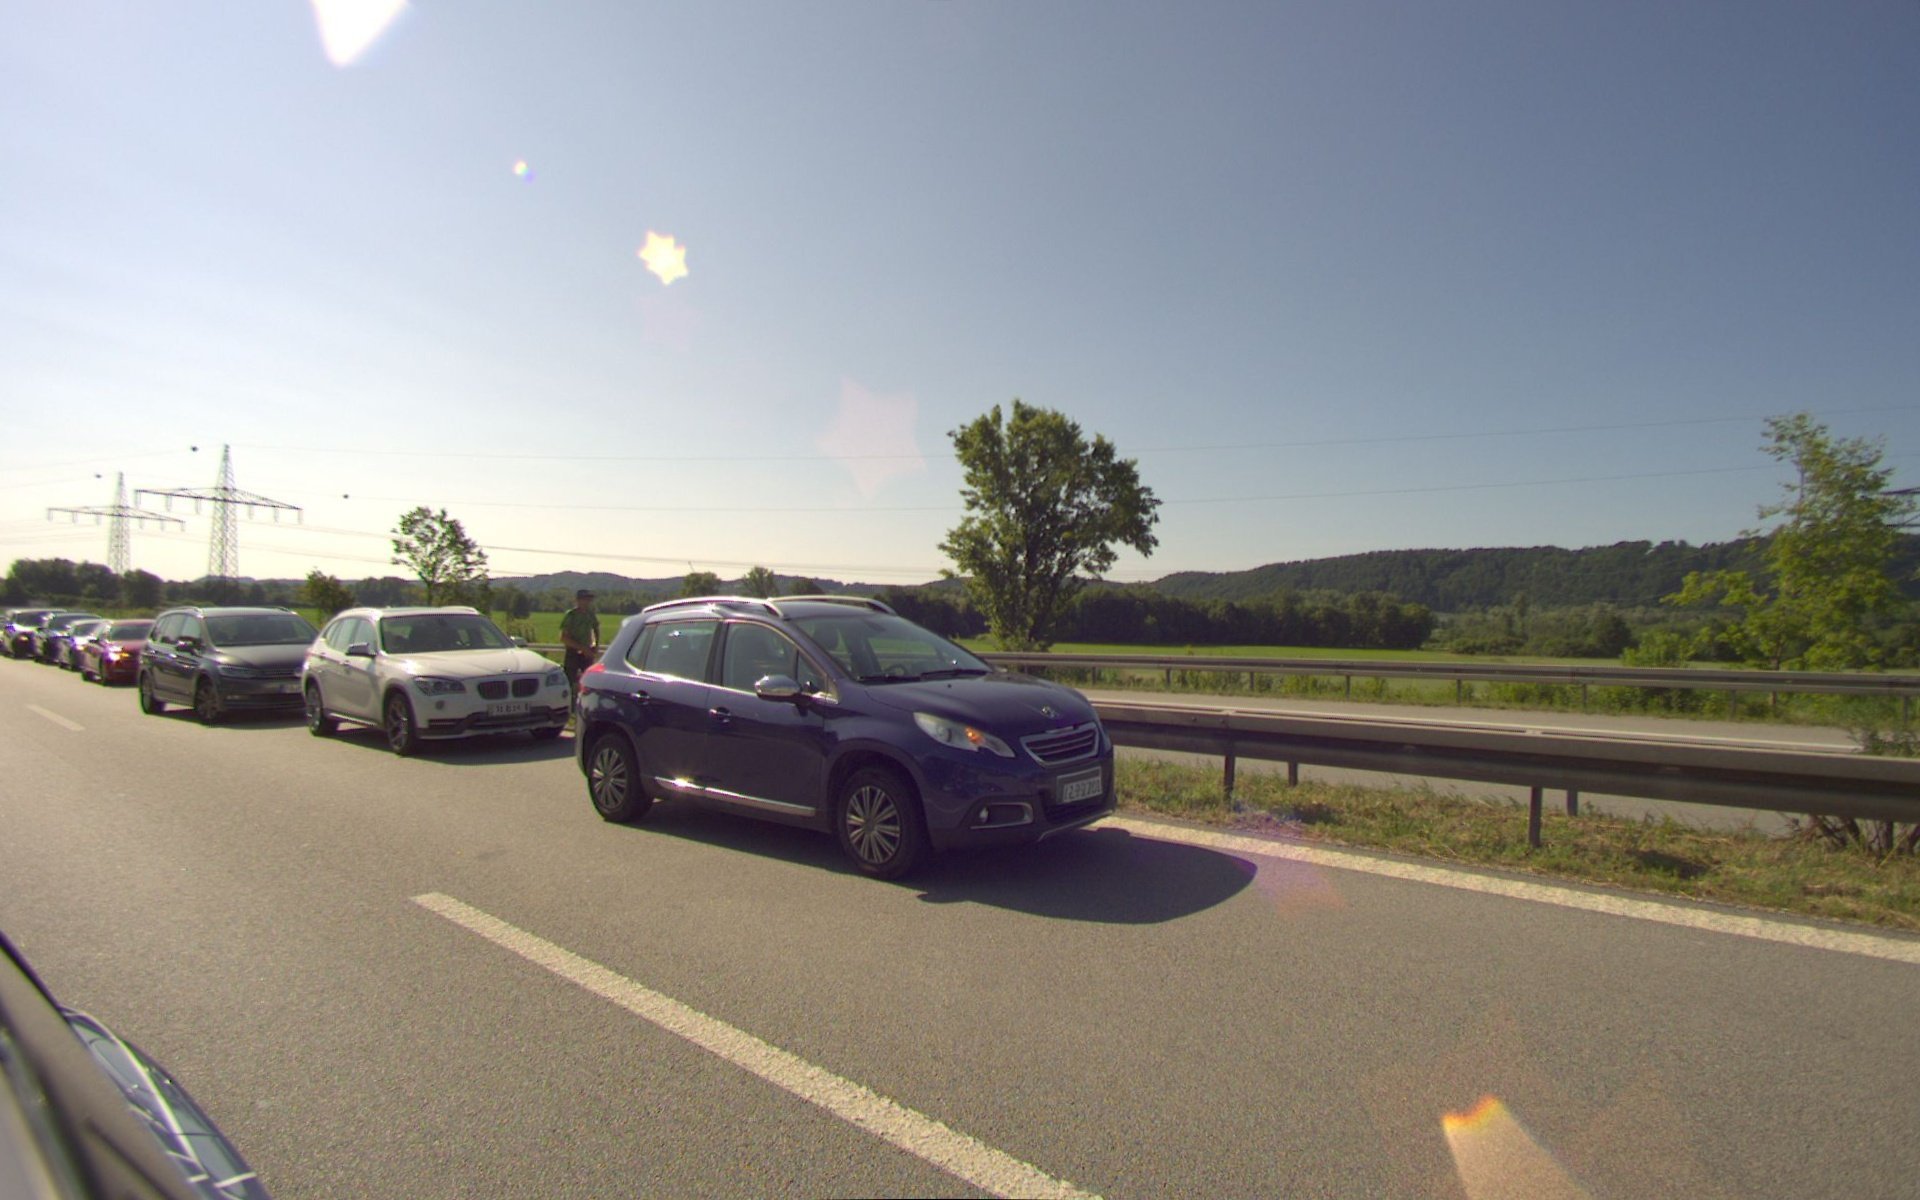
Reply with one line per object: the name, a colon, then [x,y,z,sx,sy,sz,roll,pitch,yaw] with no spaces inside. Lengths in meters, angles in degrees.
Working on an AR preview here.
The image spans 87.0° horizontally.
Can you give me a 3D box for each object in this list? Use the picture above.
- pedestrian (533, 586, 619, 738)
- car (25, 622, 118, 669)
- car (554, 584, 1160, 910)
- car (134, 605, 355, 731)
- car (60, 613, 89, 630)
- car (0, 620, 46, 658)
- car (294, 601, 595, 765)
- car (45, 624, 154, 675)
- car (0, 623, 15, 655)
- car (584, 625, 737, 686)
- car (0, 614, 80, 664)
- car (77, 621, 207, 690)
pedestrian: [-4.663,0.729,12.292,0.814,1.764,0.663,-1,-2,41]
car: [-29.767,1.489,33.881,3.999,1.466,1.869,-1,-2,42]
car: [-0.854,0.721,6.703,3.944,1.546,1.671,-1,0,39]
car: [-10.834,0.920,15.217,4.115,1.628,1.796,-1,-1,41]
car: [-91.047,2.211,104.086,4.393,1.644,1.838,-1,0,43]
car: [-40.461,1.636,42.977,3.998,1.542,1.973,-1,-2,41]
car: [-6.156,0.849,11.877,4.163,1.586,1.808,-1,-1,42]
car: [-25.305,1.410,29.735,3.998,1.409,1.870,-1,-2,41]
car: [-47.459,1.887,49.080,3.998,1.542,1.973,-1,-2,41]
car: [-7.883,1.387,26.373,4.565,1.424,1.694,-1,-1,42]
car: [-34.982,1.445,38.355,4.198,1.801,1.877,-1,-2,41]
car: [-19.121,1.242,23.595,4.117,1.470,1.795,-1,-2,43]
